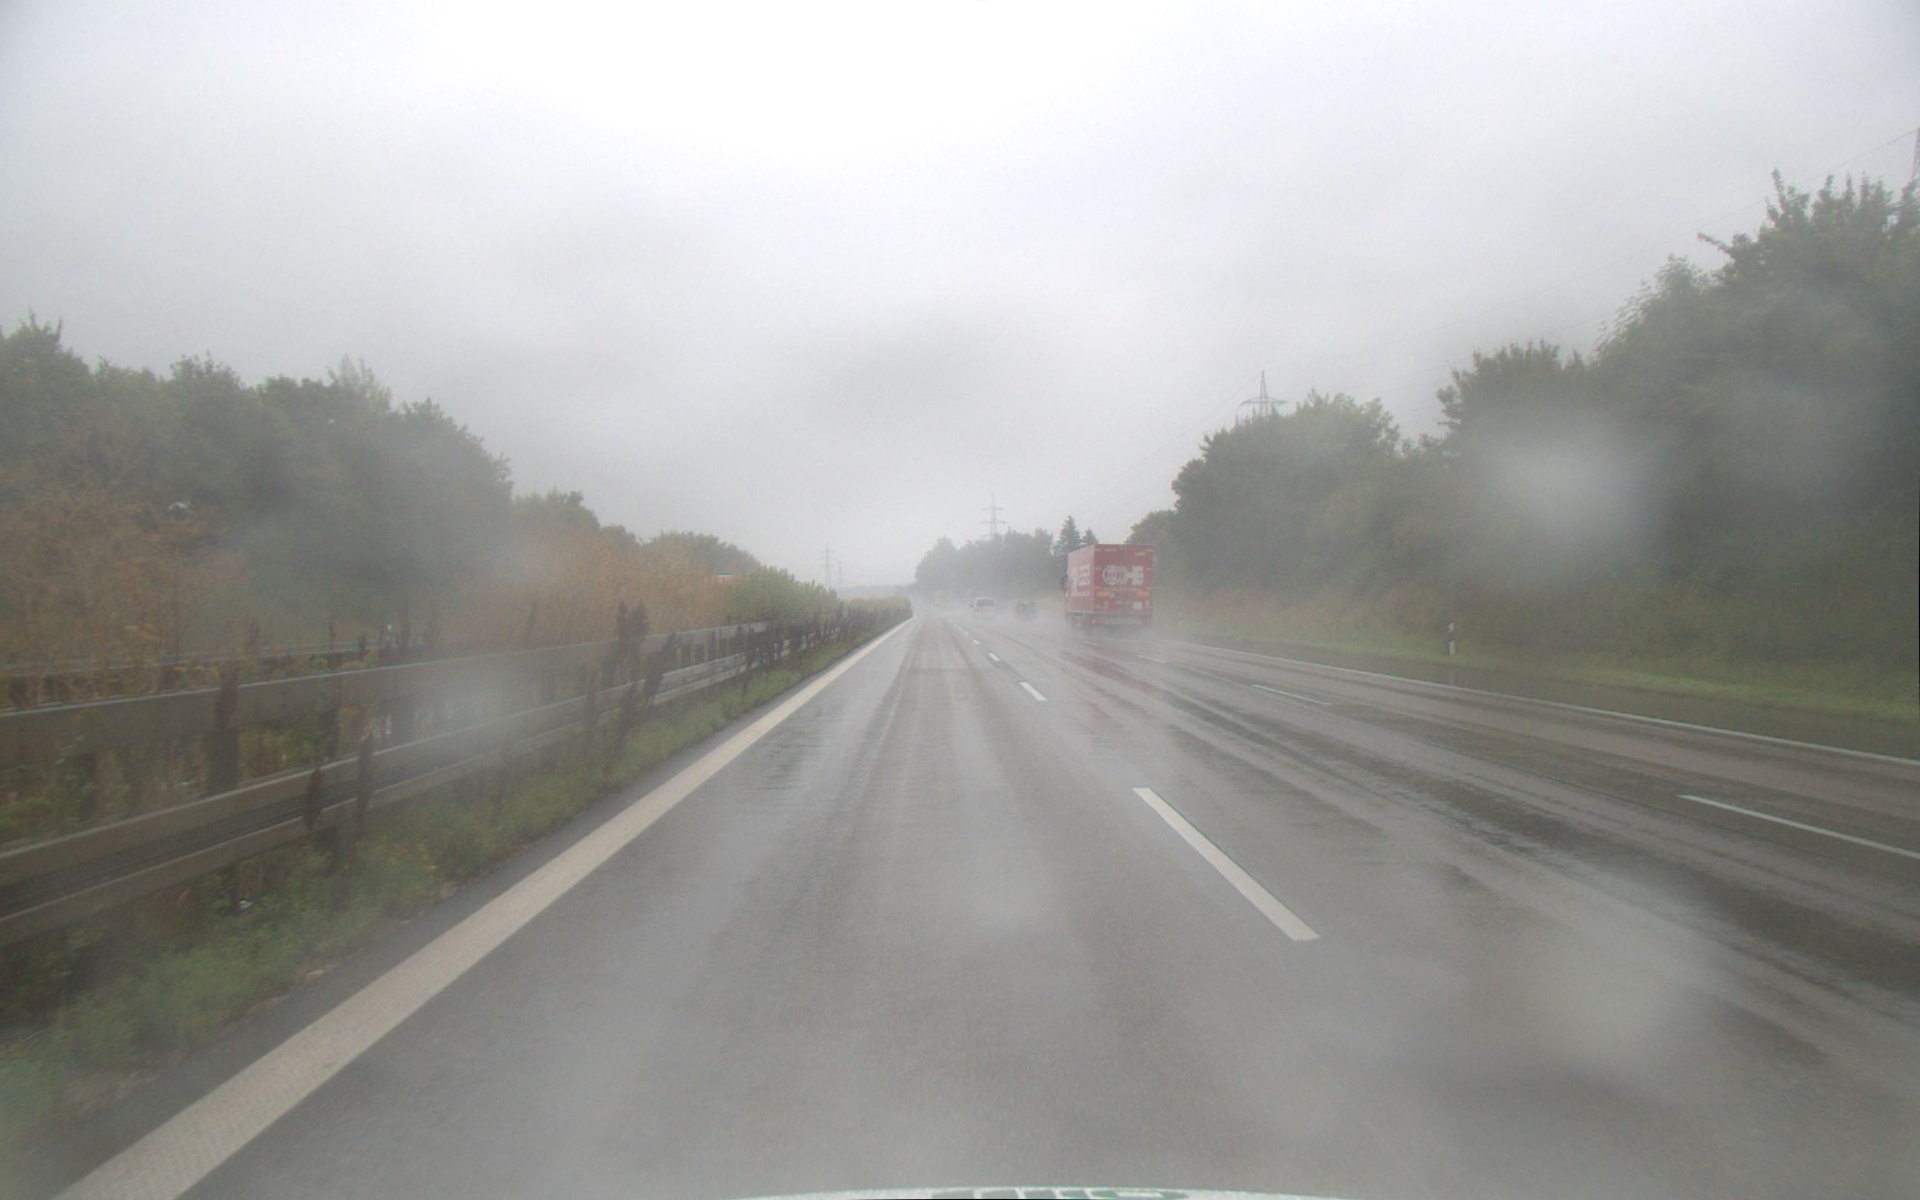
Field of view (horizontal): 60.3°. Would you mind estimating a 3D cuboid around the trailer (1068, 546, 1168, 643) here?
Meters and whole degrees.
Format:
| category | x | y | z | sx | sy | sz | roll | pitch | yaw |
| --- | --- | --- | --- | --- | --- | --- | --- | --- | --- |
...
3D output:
| category | x | y | z | sx | sy | sz | roll | pitch | yaw |
| --- | --- | --- | --- | --- | --- | --- | --- | --- | --- |
| trailer | 7.254 | -0.207 | 77.974 | 2.568 | 4.024 | 13.622 | -3 | 0 | -3 |
